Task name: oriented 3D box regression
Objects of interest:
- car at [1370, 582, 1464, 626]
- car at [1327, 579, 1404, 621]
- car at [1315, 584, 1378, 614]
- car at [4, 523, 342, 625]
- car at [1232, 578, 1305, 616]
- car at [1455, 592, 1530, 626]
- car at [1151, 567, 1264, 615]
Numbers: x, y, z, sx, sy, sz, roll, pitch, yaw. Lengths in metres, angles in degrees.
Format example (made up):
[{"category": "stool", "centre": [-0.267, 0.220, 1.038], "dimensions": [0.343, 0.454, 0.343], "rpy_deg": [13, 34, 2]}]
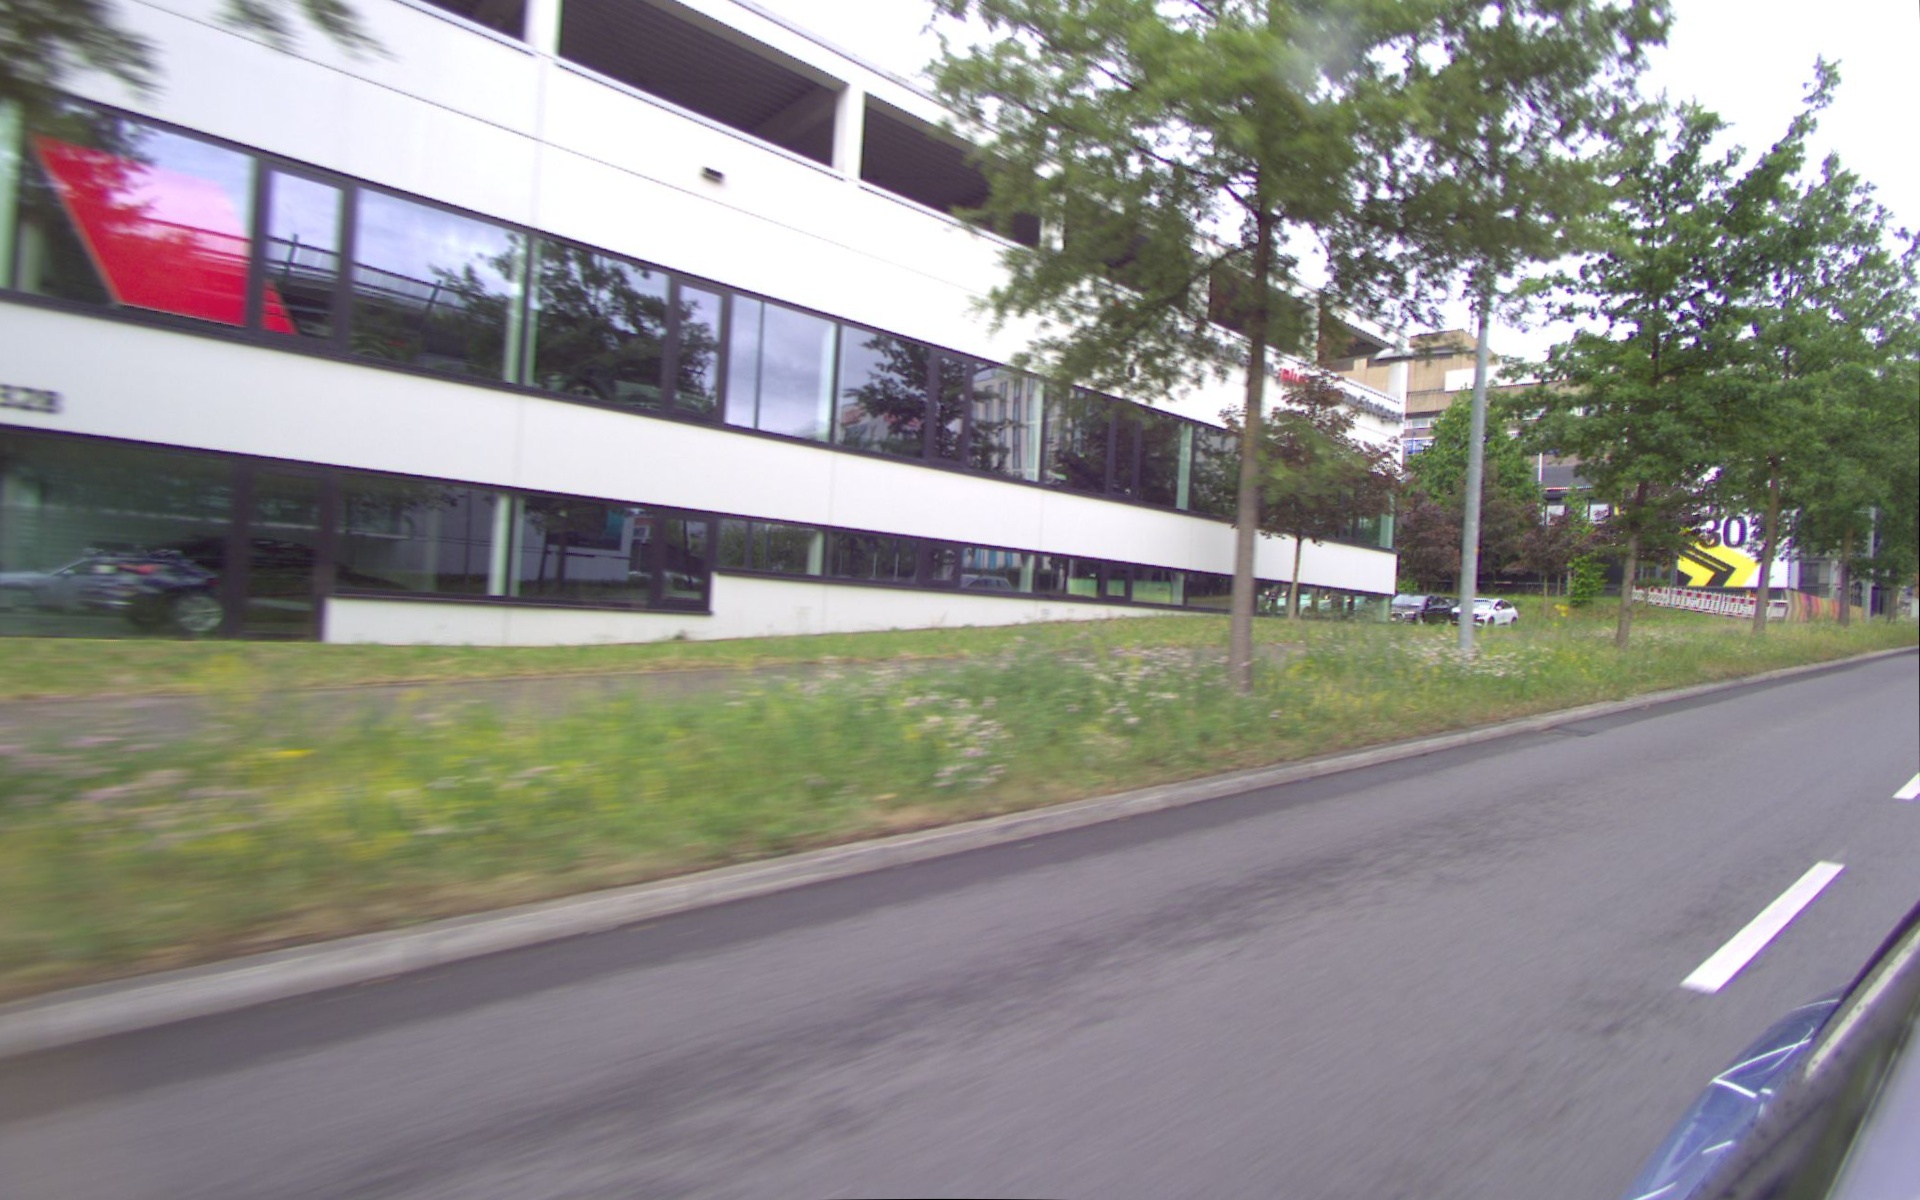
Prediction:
[{"category": "car", "centre": [19.311, 0.116, 42.699], "dimensions": [4.510, 1.696, 1.907], "rpy_deg": [-1, 3, -41]}, {"category": "car", "centre": [18.065, -0.025, 45.051], "dimensions": [3.579, 1.696, 1.701], "rpy_deg": [0, 4, -41]}, {"category": "car", "centre": [20.526, -0.060, 53.716], "dimensions": [3.579, 1.503, 1.700], "rpy_deg": [-1, 0, -41]}, {"category": "car", "centre": [-11.776, -0.391, 15.335], "dimensions": [3.855, 1.355, 1.901], "rpy_deg": [-1, 2, -42]}, {"category": "car", "centre": [14.640, -0.157, 47.958], "dimensions": [3.579, 1.697, 1.700], "rpy_deg": [0, -1, -41]}, {"category": "car", "centre": [25.084, 0.402, 47.628], "dimensions": [4.384, 1.503, 1.700], "rpy_deg": [-1, 0, -41]}, {"category": "car", "centre": [10.988, -0.391, 45.058], "dimensions": [4.443, 1.697, 1.704], "rpy_deg": [5, 0, -3]}]
